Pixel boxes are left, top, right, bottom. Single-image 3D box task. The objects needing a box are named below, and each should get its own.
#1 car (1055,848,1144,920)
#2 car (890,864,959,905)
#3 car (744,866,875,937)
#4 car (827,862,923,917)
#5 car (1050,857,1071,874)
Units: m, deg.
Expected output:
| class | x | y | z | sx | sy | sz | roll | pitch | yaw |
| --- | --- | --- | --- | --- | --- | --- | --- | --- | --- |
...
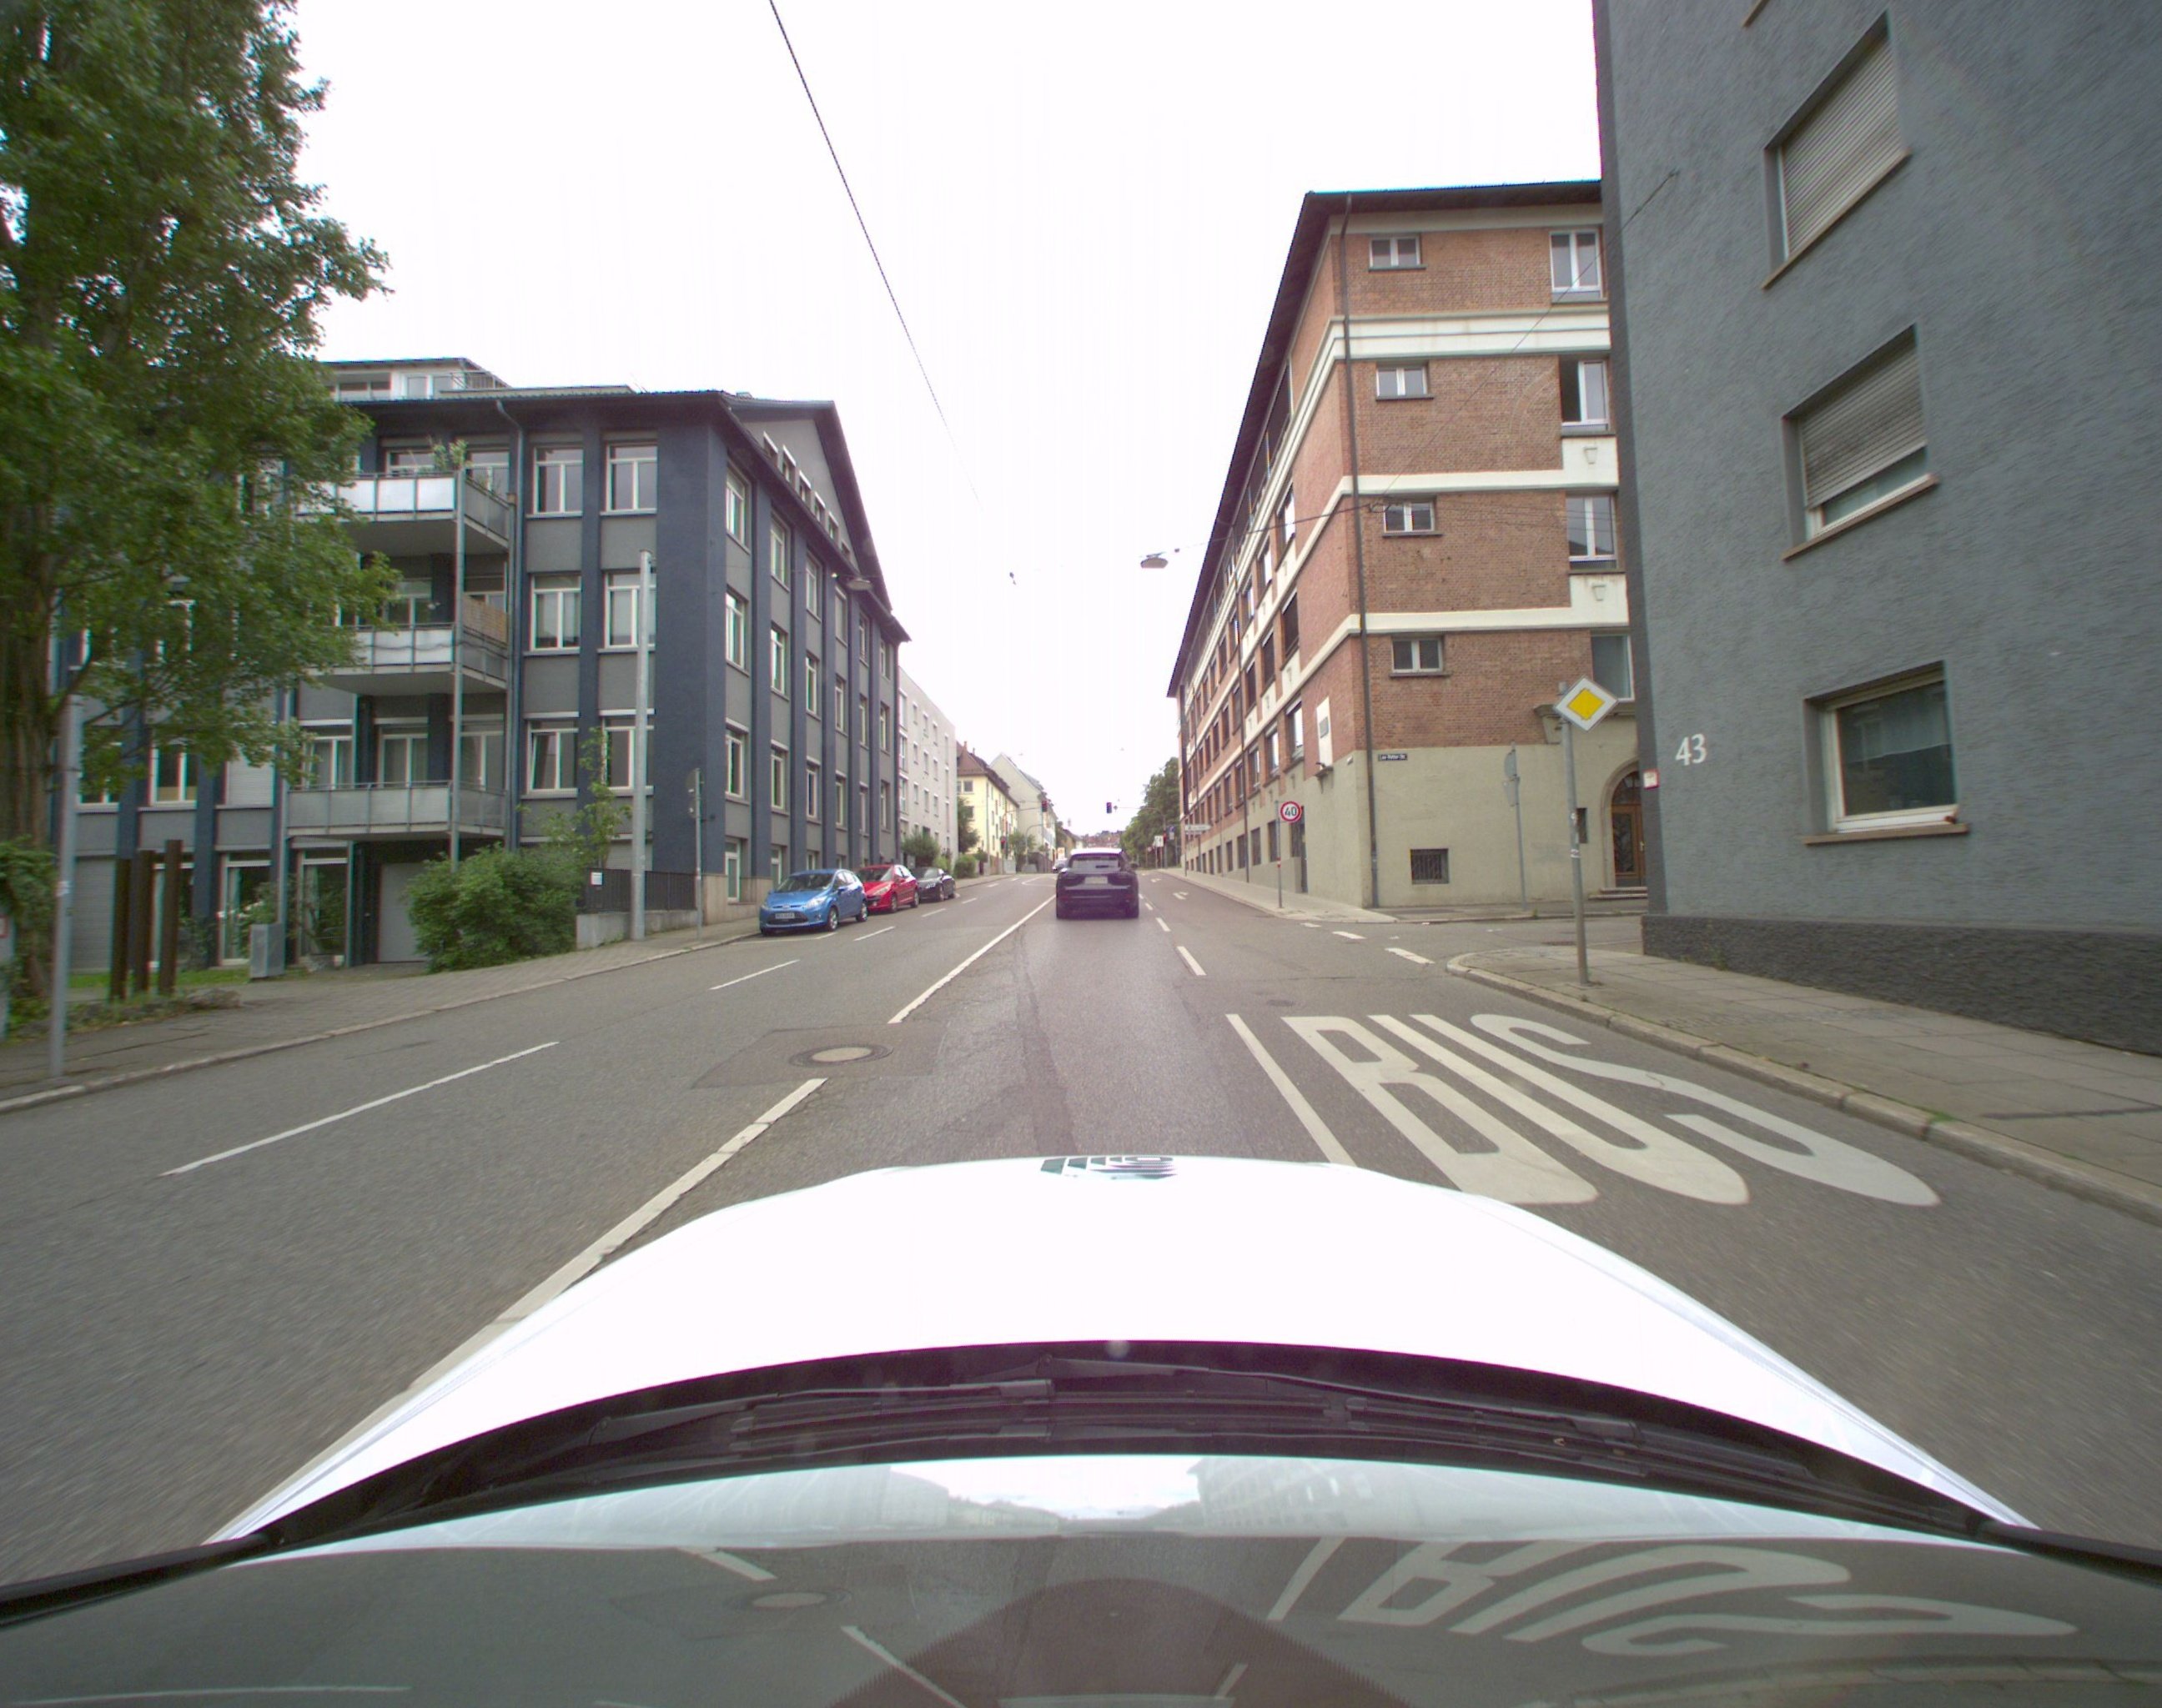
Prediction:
| class | x | y | z | sx | sy | sz | roll | pitch | yaw |
| --- | --- | --- | --- | --- | --- | --- | --- | --- | --- |
| car | 0.354 | 0.692 | 20.608 | 2.019 | 1.641 | 4.352 | 0 | 0 | -2 |
| car | -5.961 | 1.120 | 31.413 | 1.708 | 1.341 | 3.906 | -4 | 0 | 2 |
| car | -6.577 | 1.088 | 20.199 | 1.708 | 1.423 | 3.991 | -4 | 0 | 2 |
| car | -6.387 | 1.048 | 25.697 | 1.707 | 1.456 | 3.992 | -4 | 0 | 3 |
| car | -2.240 | 1.214 | 89.948 | 1.889 | 1.691 | 4.004 | -4 | 0 | 4 |
